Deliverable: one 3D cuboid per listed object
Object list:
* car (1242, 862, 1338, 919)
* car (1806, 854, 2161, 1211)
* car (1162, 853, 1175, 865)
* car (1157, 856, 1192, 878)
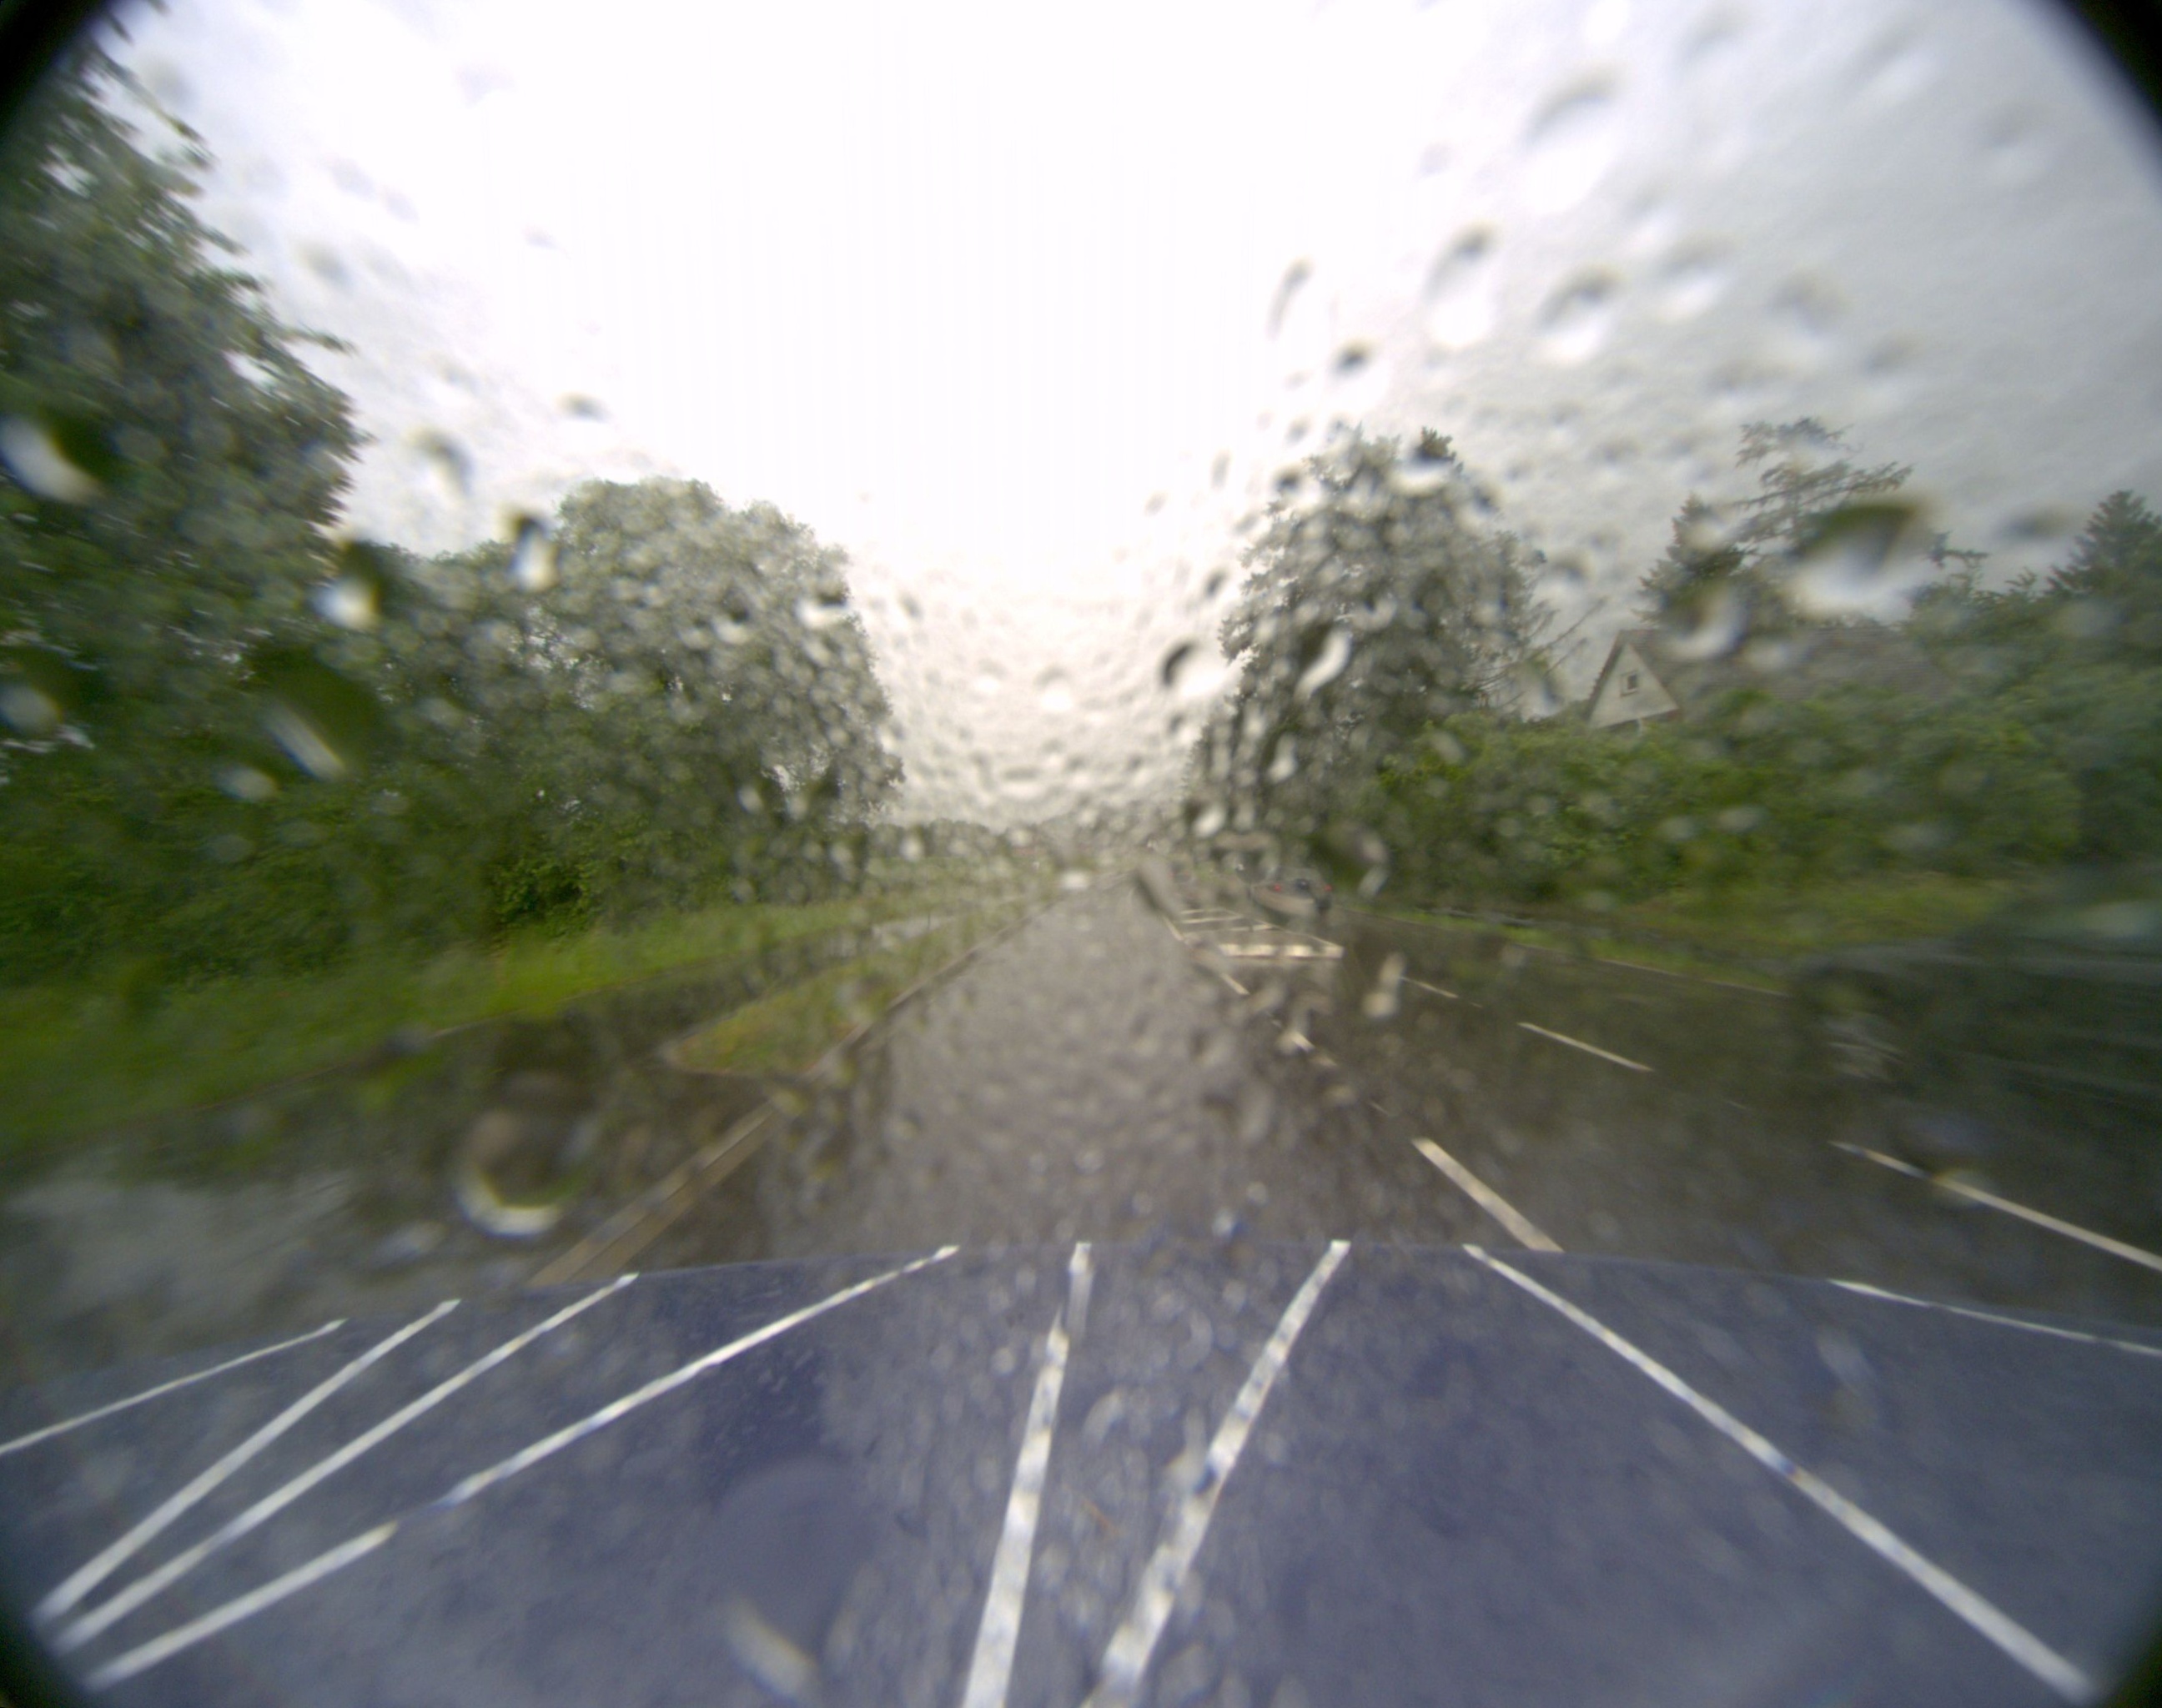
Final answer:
[{"bbox_3d":[5.900,0.980,21.896,1.746,1.437,3.682,1,0,0],"label":"car"},{"bbox_3d":[6.060,0.872,3.292,1.746,1.708,4.267,1,0,0],"label":"car"},{"bbox_3d":[11.706,0.710,102.000,1.764,1.543,4.003,0,-2,6],"label":"car"},{"bbox_3d":[5.951,0.800,48.642,1.687,1.374,4.224,0,0,-1],"label":"car"}]
